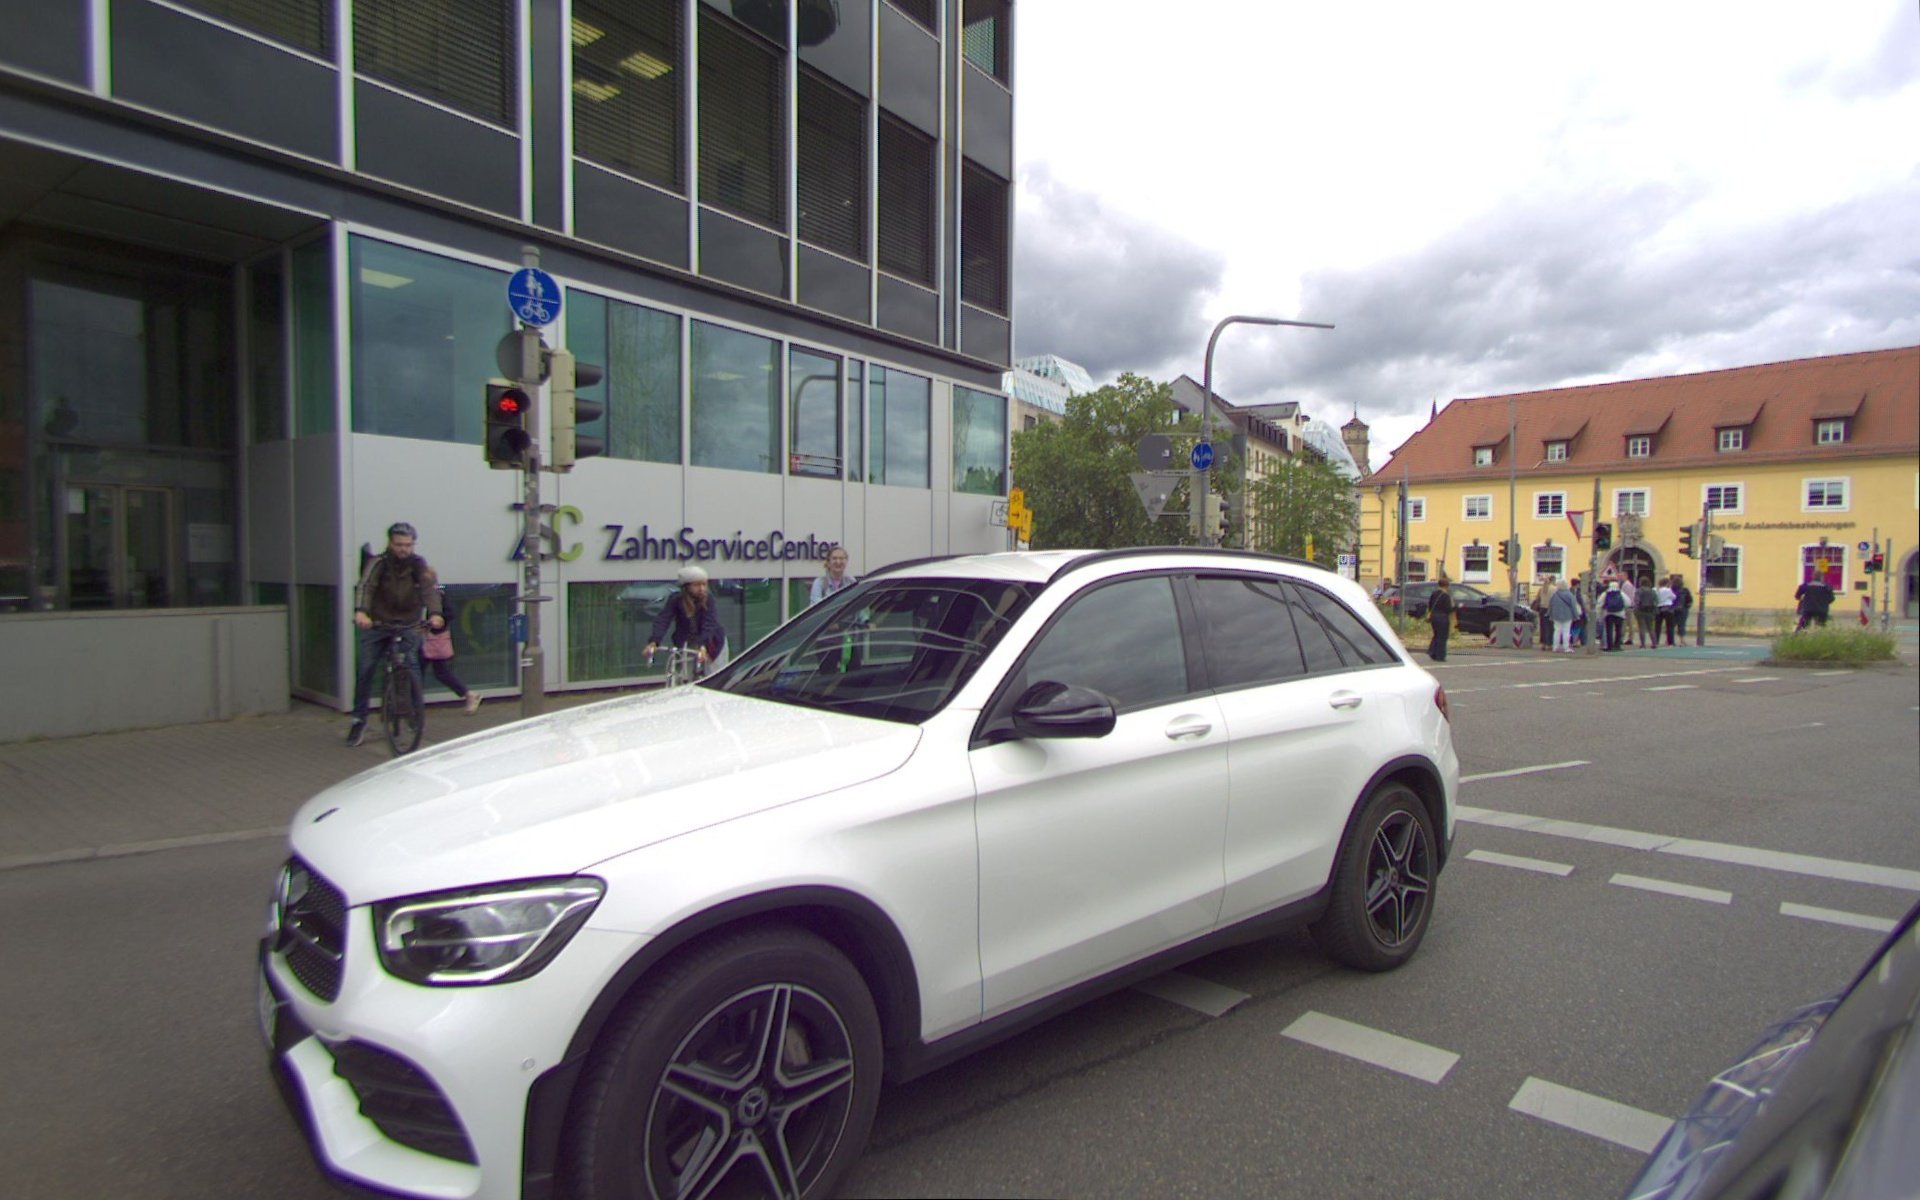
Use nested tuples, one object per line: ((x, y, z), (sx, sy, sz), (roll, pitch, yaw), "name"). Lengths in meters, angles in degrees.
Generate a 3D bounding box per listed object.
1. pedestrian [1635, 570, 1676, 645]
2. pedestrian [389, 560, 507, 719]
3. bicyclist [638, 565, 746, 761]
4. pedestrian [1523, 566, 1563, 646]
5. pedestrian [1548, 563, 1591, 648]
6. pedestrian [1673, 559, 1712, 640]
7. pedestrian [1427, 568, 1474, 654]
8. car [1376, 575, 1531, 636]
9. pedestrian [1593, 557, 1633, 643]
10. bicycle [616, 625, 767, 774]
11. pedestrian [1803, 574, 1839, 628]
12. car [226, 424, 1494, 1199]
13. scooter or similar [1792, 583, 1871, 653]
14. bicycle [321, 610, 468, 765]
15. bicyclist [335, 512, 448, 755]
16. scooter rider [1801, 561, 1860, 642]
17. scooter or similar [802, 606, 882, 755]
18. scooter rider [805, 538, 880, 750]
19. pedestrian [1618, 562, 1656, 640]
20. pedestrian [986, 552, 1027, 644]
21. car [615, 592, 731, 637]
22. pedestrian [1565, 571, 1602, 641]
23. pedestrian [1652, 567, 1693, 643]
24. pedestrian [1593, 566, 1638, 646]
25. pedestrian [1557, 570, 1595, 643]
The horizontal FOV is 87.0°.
((16.329, 0.165, 23.769), (0.602, 1.717, 0.639), (1, 0, 17), "pedestrian")
((-5.001, 0.355, 9.900), (0.602, 1.460, 0.828), (3, 2, 36), "pedestrian")
((-2.274, 0.496, 8.662), (0.557, 1.568, 0.843), (2, 2, 12), "bicyclist")
((13.698, 0.139, 23.797), (0.661, 1.838, 0.698), (1, 0, 20), "pedestrian")
((13.814, 0.119, 22.956), (0.661, 1.886, 0.698), (1, 0, 20), "pedestrian")
((18.334, -0.016, 25.352), (0.603, 1.979, 0.638), (1, 0, 20), "pedestrian")
((10.076, 0.215, 20.821), (0.793, 1.719, 0.544), (2, 1, 23), "pedestrian")
((14.214, 0.105, 29.406), (3.761, 1.595, 1.988), (2, 2, 19), "car")
((15.388, -0.004, 23.868), (0.602, 1.989, 0.639), (1, 0, 17), "pedestrian")
((-2.267, 0.798, 8.750), (0.572, 1.039, 1.664), (2, 2, 11), "bicycle")
((29.664, 0.029, 34.853), (0.739, 1.811, 0.826), (0, 1, -42), "pedestrian")
((0.020, 0.515, 3.664), (4.255, 1.666, 1.807), (0, 2, -39), "car")
((18.897, 0.359, 21.995), (0.768, 1.424, 1.872), (1, 1, 24), "scooter or similar")
((-4.656, 0.657, 8.270), (0.668, 1.019, 1.766), (3, 1, -41), "bicycle")
((-4.666, 0.237, 8.294), (0.663, 1.868, 0.813), (0, 2, -40), "bicyclist")
((18.908, 0.027, 21.992), (0.758, 1.715, 0.740), (1, 1, 25), "scooter rider")
((-1.057, 0.687, 9.256), (0.582, 1.190, 1.324), (1, 2, -1), "scooter or similar")
((-1.047, 0.371, 9.107), (0.582, 1.831, 0.644), (1, 2, -1), "scooter rider")
((17.198, 0.024, 25.715), (0.602, 1.934, 0.639), (1, 0, 17), "pedestrian")
((0.915, -0.041, 19.994), (0.584, 1.770, 0.632), (1, 1, 24), "pedestrian")
((-11.215, 0.531, 39.566), (3.946, 1.598, 1.989), (2, 1, 18), "car")
((15.574, 0.137, 25.285), (0.602, 1.717, 0.639), (1, 0, 17), "pedestrian")
((17.406, 0.105, 24.731), (0.602, 1.819, 0.639), (1, 0, 17), "pedestrian")
((14.965, 0.123, 23.119), (0.661, 1.784, 0.759), (1, 1, 19), "pedestrian")
((14.720, 0.138, 24.188), (0.602, 1.717, 0.639), (1, 0, 17), "pedestrian")
